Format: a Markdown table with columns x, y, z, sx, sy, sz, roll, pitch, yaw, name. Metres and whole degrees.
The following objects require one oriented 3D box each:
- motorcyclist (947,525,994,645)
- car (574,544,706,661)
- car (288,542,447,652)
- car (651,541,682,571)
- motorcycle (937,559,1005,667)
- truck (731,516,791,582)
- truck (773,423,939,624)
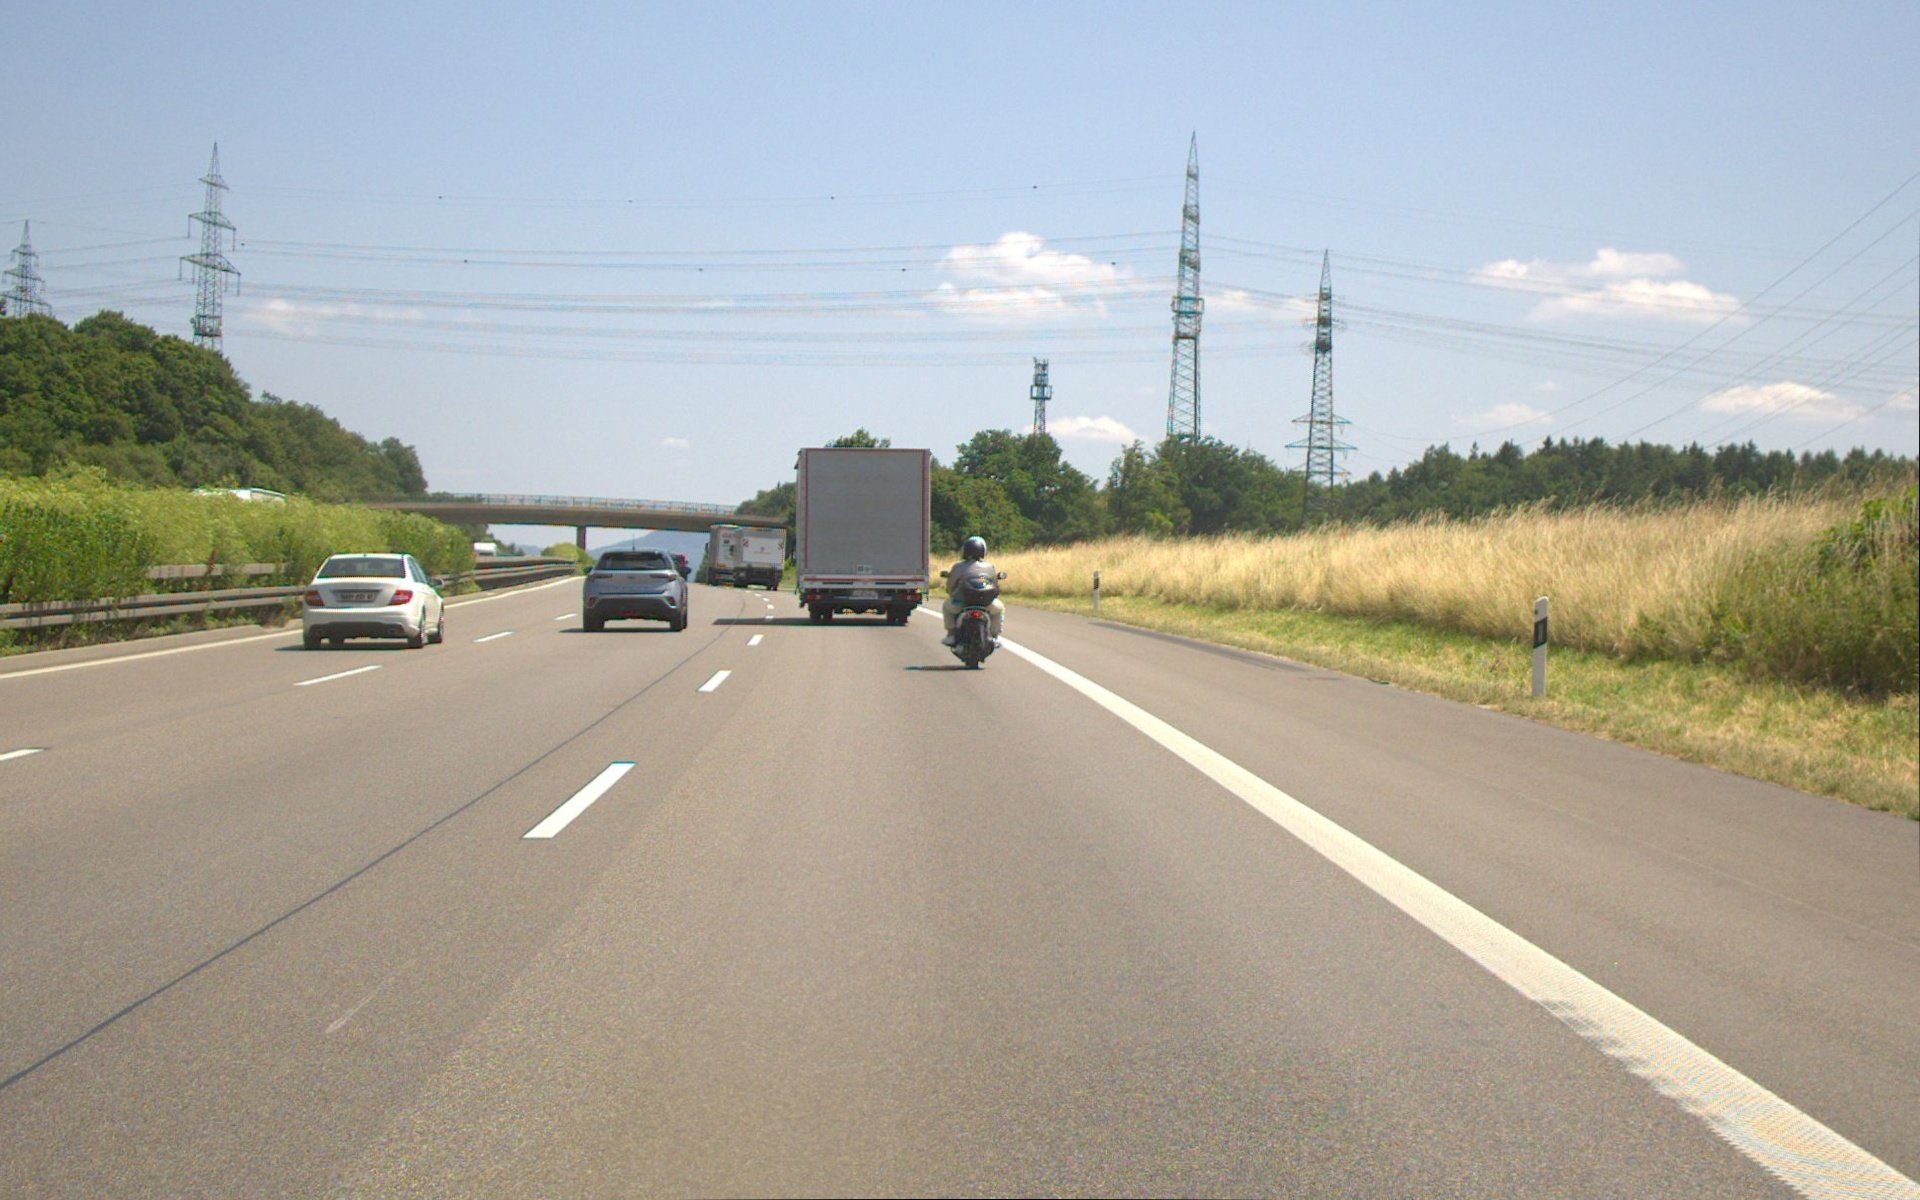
| x | y | z | sx | sy | sz | roll | pitch | yaw | name |
| --- | --- | --- | --- | --- | --- | --- | --- | --- | --- |
| 0.130 | -0.191 | 42.731 | 0.572 | 1.474 | 0.700 | 0 | 1 | -1 | motorcyclist |
| -5.757 | 0.013 | 62.212 | 1.993 | 2.006 | 4.000 | 0 | 2 | 0 | car |
| -8.848 | -0.081 | 51.590 | 1.819 | 1.535 | 3.915 | 0 | 2 | -2 | car |
| -19.214 | -2.878 | 225.319 | 1.901 | 1.919 | 4.001 | 0 | 2 | -4 | car |
| 0.126 | 0.147 | 42.745 | 0.809 | 1.301 | 1.782 | 0 | 1 | -1 | motorcycle |
| -11.920 | -3.058 | 205.679 | 3.483 | 3.899 | 7.291 | 0 | 1 | -4 | truck |
| -2.081 | -1.575 | 71.721 | 3.221 | 3.910 | 9.061 | 0 | 1 | -1 | truck |
